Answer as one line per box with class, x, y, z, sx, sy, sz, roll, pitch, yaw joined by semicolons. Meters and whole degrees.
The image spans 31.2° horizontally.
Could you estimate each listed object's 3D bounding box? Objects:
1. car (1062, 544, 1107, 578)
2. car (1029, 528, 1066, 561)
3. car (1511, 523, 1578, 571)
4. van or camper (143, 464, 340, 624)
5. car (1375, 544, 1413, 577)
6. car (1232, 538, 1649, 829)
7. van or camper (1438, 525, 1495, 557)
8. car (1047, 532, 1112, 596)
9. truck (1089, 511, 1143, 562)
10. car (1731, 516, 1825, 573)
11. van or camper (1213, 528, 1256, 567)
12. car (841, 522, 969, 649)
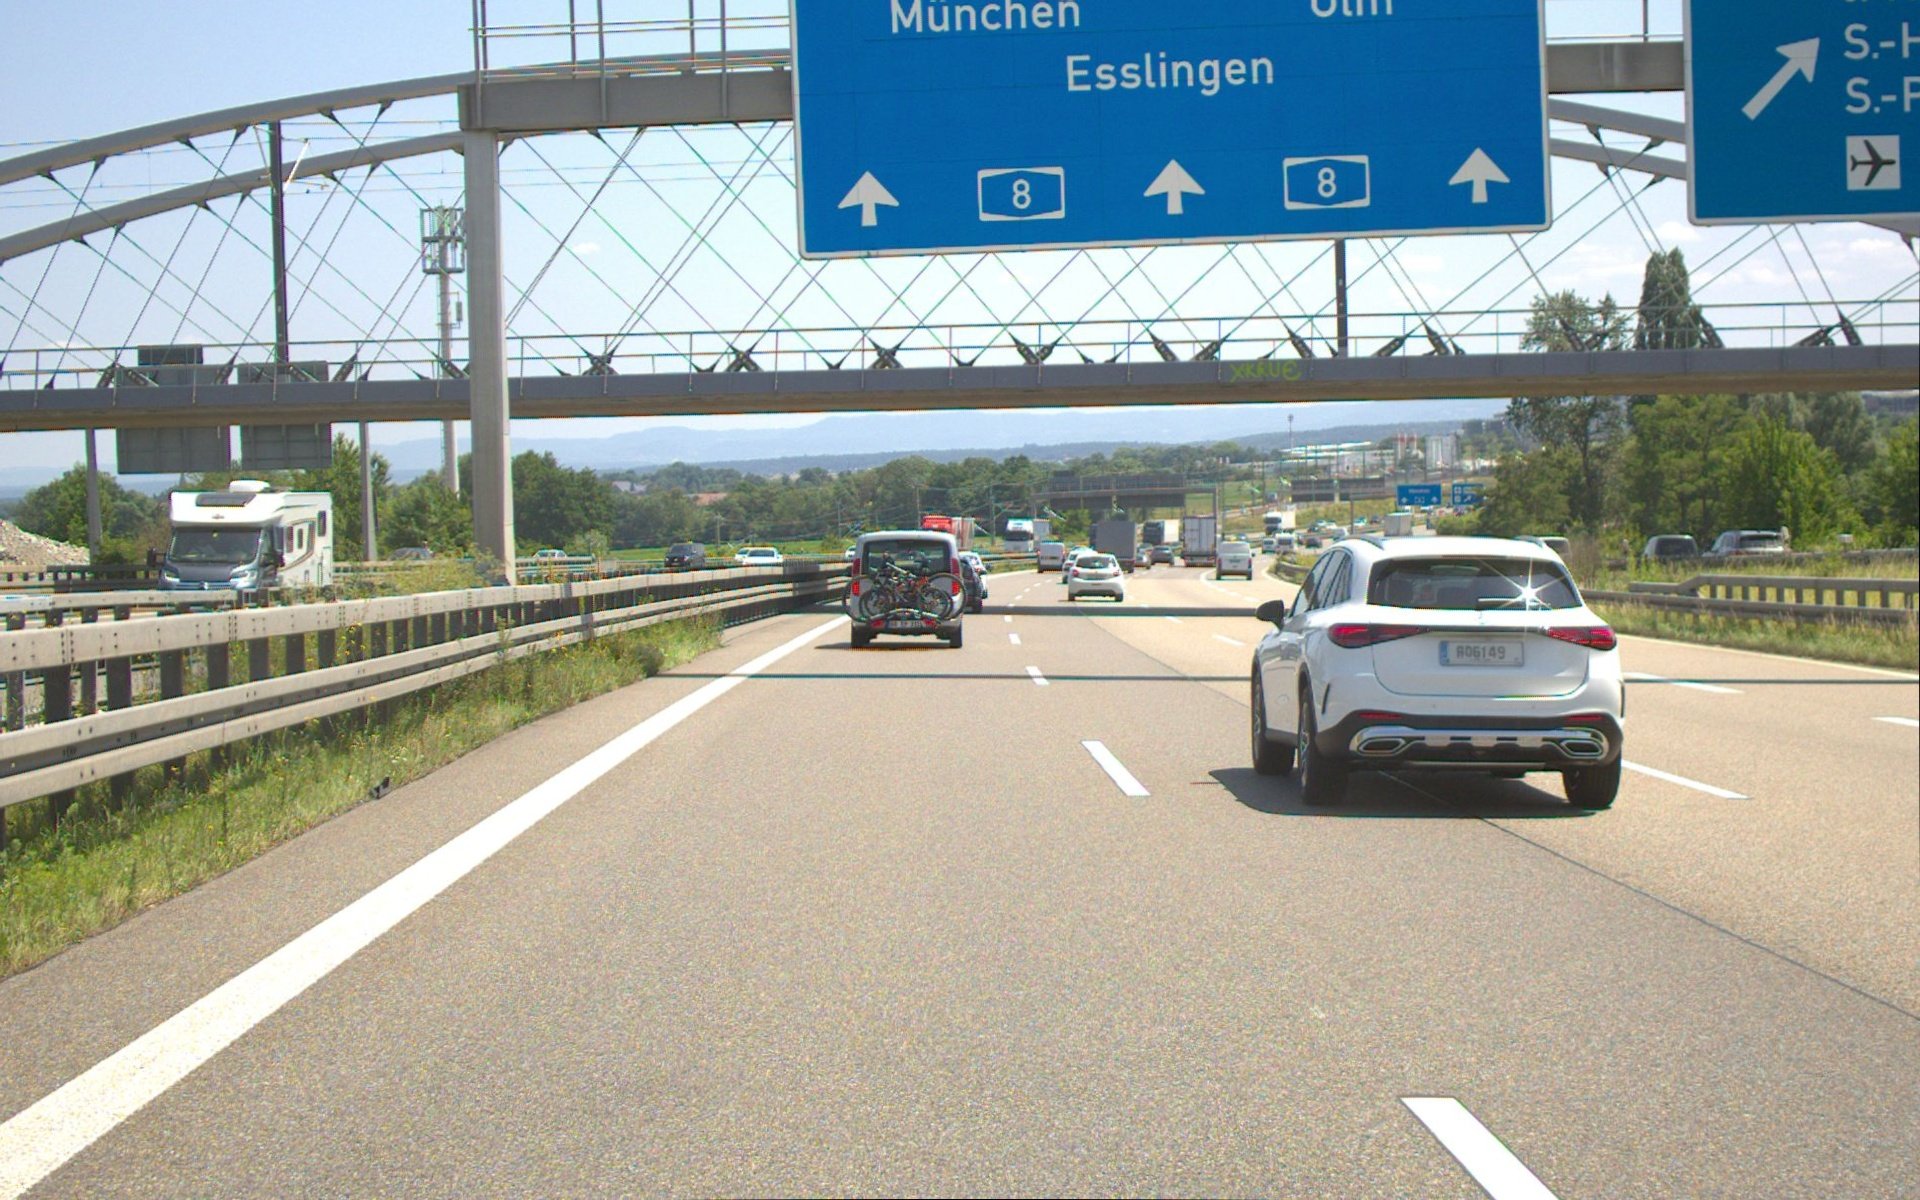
car;5.592;-1.761;154.675;1.982;1.468;4.000;0;1;1
car;5.472;-3.432;213.454;2.186;1.996;4.000;1;1;3
car;23.765;-2.145;139.855;1.939;1.917;4.179;1;1;-1
van or camper;-14.557;-1.151;70.243;2.444;3.076;8.123;0;1;-1
car;26.823;-2.424;212.552;1.994;2.007;4.000;1;1;3
car;2.944;0.448;22.156;1.898;1.641;4.999;1;1;-1
van or camper;32.794;-3.788;222.579;2.528;2.007;4.462;1;1;-7
car;3.689;-1.118;106.751;1.926;1.912;4.518;1;1;1
truck;9.957;-4.006;219.093;2.703;3.098;10.656;1;1;6
car;23.402;-1.580;98.478;1.699;1.569;4.128;1;1;0
van or camper;14.475;-2.755;181.566;2.156;2.007;4.304;1;1;3
car;-0.870;-0.246;54.641;1.926;1.912;4.948;1;1;-1
